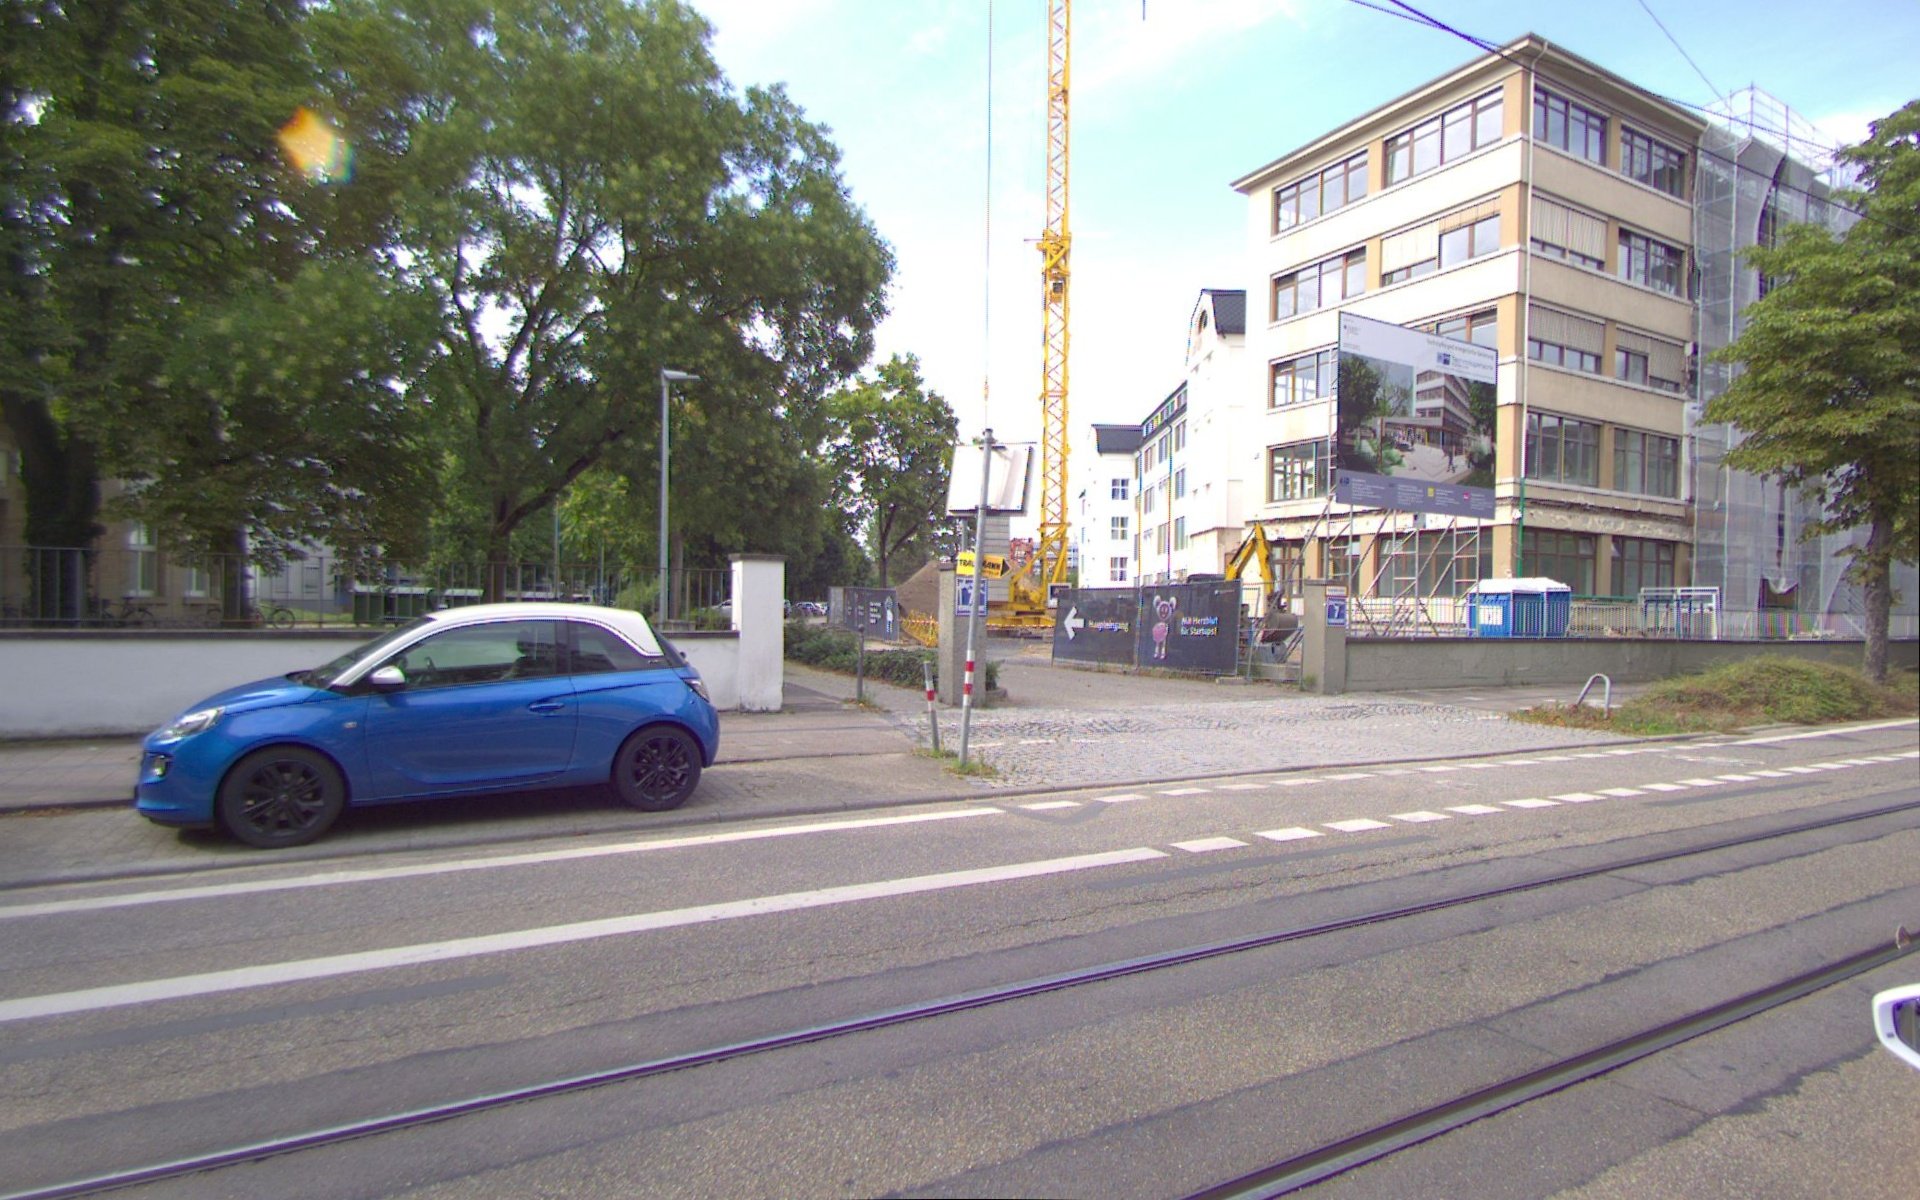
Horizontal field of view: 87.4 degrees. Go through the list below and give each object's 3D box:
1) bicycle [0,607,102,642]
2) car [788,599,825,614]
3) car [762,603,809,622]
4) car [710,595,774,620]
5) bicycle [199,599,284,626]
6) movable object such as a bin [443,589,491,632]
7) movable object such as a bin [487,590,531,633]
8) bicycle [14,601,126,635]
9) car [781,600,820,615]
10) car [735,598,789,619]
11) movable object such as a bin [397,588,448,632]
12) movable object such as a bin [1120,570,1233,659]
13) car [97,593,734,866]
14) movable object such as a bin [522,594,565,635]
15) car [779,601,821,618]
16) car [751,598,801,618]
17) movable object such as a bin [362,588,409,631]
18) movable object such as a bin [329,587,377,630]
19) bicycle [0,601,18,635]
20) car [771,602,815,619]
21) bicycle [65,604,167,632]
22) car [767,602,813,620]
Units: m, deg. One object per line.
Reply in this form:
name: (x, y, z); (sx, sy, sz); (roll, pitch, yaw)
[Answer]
bicycle: (-21.958, 0.575, 24.088); (2.010, 0.783, 0.713); (1, 1, -10)
car: (-16.545, 0.726, 108.397); (3.927, 1.518, 1.911); (1, 0, -9)
car: (-14.864, 1.030, 85.741); (3.927, 1.518, 1.911); (1, 0, -9)
car: (-13.958, 0.499, 64.506); (3.927, 1.518, 1.911); (1, 0, -9)
bicycle: (-22.174, 0.376, 31.009); (2.010, 0.783, 0.713); (1, 1, -10)
movable object such as a bin: (-16.438, 0.356, 33.512); (1.180, 1.393, 0.861); (1, 1, -3)
movable object such as a bin: (-15.016, 0.389, 33.462); (1.073, 1.393, 0.861); (1, 1, -3)
bicycle: (-22.146, 0.445, 25.028); (2.010, 0.783, 0.713); (1, 1, -10)
car: (-16.565, 0.767, 104.280); (3.927, 1.518, 1.911); (1, 0, -9)
car: (-14.910, 0.619, 75.876); (3.927, 1.518, 1.911); (1, 0, -9)
movable object such as a bin: (-17.858, 0.324, 33.385); (1.180, 1.393, 0.970); (1, 1, -3)
movable object such as a bin: (5.400, 0.355, 25.154); (1.935, 2.095, 1.979); (1, 0, -27)
car: (-3.674, 0.752, 7.281); (3.634, 1.507, 1.685); (1, 1, -30)
movable object such as a bin: (-13.782, 0.472, 33.240); (1.073, 1.290, 0.861); (1, 1, -3)
car: (-15.092, 0.913, 94.915); (3.927, 1.518, 1.911); (1, 0, -9)
car: (-15.068, 0.650, 82.304); (3.927, 1.518, 1.911); (1, 0, -9)
movable object such as a bin: (-19.080, 0.296, 33.385); (1.001, 1.393, 0.970); (1, 1, -3)
movable object such as a bin: (-20.149, 0.272, 33.352); (1.001, 1.393, 0.970); (1, 1, -3)
bicycle: (-21.880, 0.380, 21.819); (2.010, 0.718, 0.713); (1, 1, -10)
car: (-15.293, 0.947, 92.249); (3.927, 1.518, 1.911); (1, 0, -9)
bicycle: (-22.464, 0.481, 26.778); (2.028, 0.718, 0.707); (1, 1, -37)
car: (-14.994, 0.995, 88.544); (3.927, 1.518, 1.911); (1, 0, -9)
